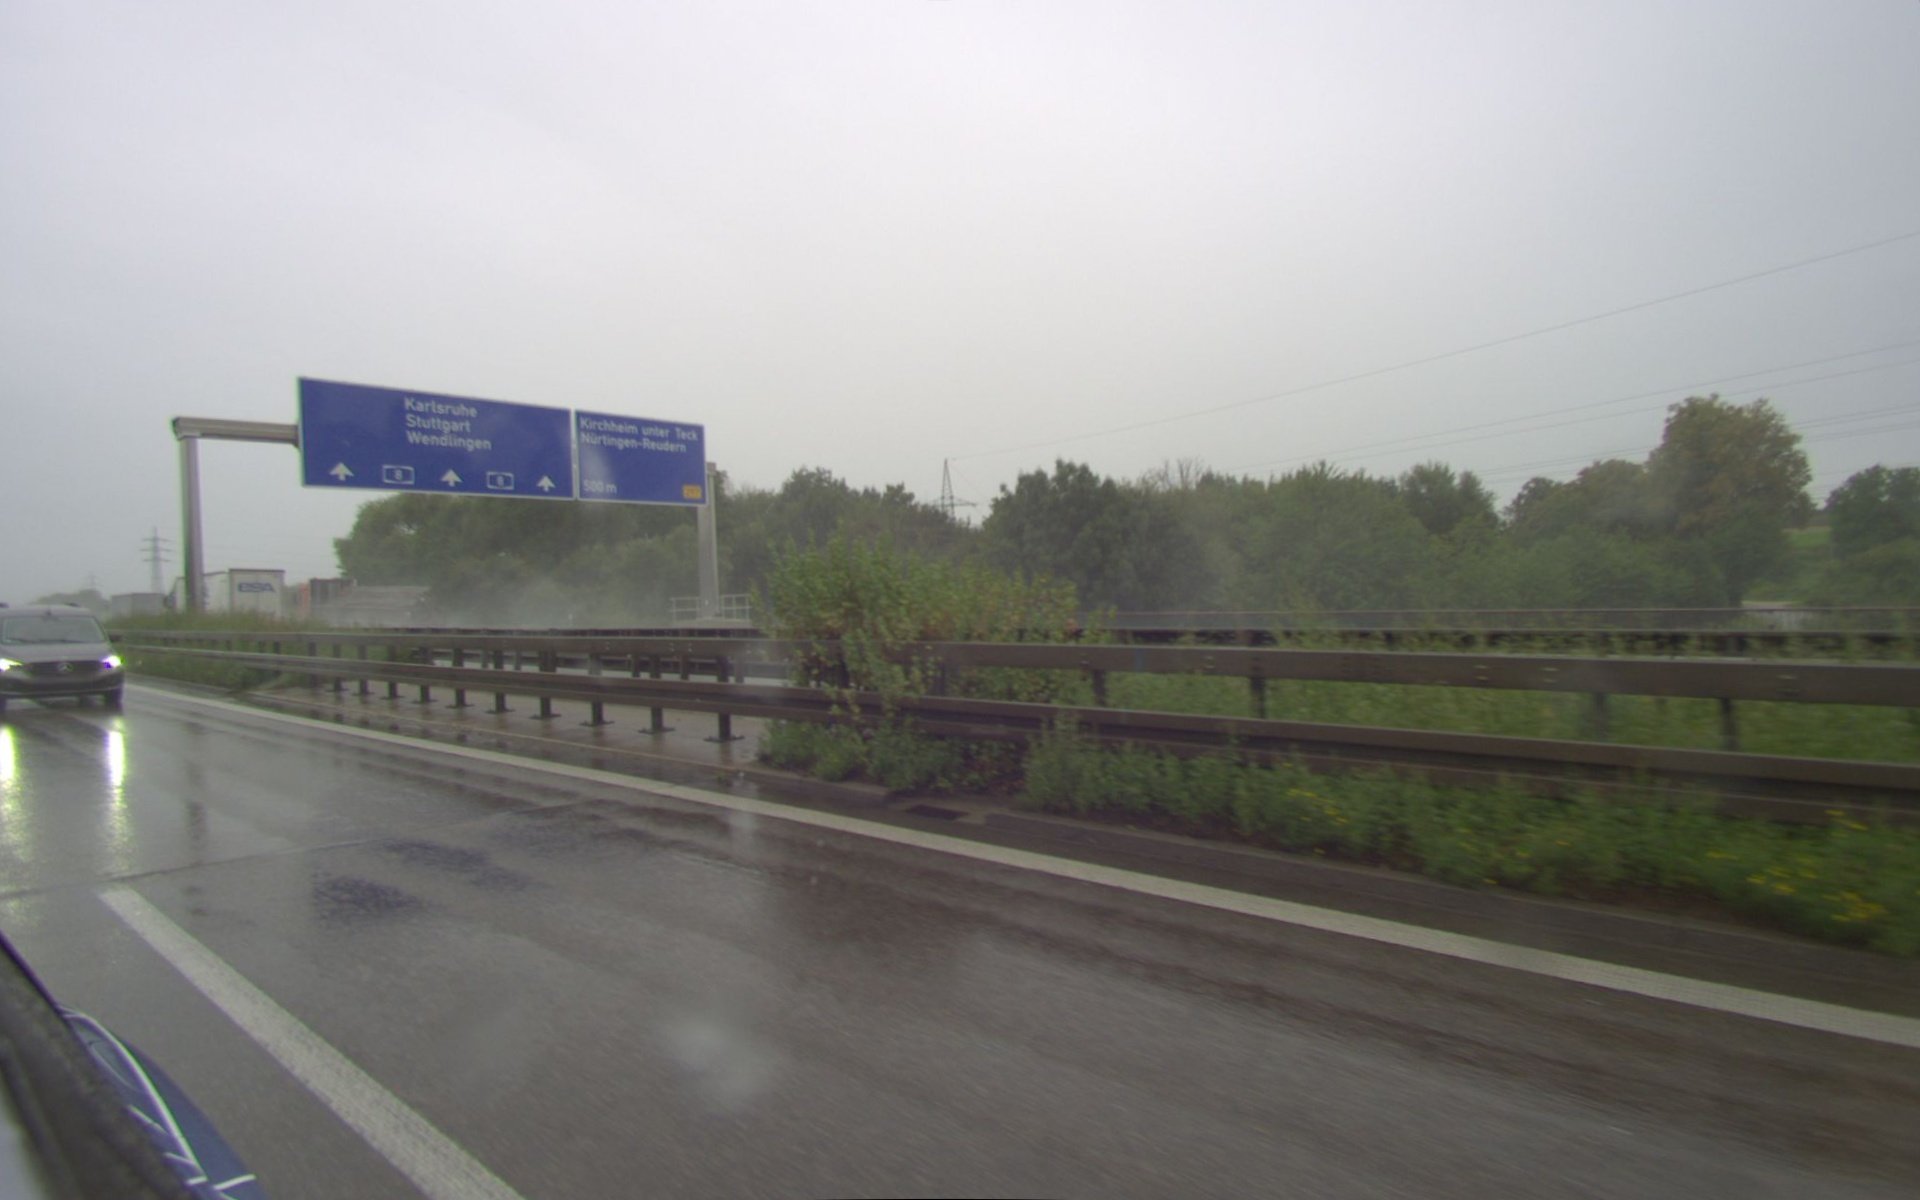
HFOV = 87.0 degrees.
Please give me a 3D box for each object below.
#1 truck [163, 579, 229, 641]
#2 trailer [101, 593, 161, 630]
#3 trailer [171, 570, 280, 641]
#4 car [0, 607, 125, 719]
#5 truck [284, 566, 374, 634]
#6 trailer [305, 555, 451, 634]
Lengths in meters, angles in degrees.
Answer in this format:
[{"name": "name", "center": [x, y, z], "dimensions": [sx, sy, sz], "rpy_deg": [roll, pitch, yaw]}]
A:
[{"name": "truck", "center": [-49.026, 0.652, 64.953], "dimensions": [4.736, 3.736, 2.332], "rpy_deg": [-2, 2, 42]}, {"name": "trailer", "center": [-85.752, 1.237, 104.584], "dimensions": [13.443, 3.433, 2.645], "rpy_deg": [-2, 0, 42]}, {"name": "trailer", "center": [-43.985, 0.464, 60.324], "dimensions": [13.926, 3.749, 2.308], "rpy_deg": [-2, 2, 42]}, {"name": "car", "center": [-16.672, 1.070, 18.383], "dimensions": [2.018, 1.787, 4.504], "rpy_deg": [-1, -1, -43]}, {"name": "truck", "center": [-38.579, 0.041, 61.757], "dimensions": [6.508, 3.747, 2.877], "rpy_deg": [-2, 2, 43]}, {"name": "trailer", "center": [-32.463, -0.169, 56.029], "dimensions": [13.539, 3.784, 2.894], "rpy_deg": [-2, 2, 43]}]
